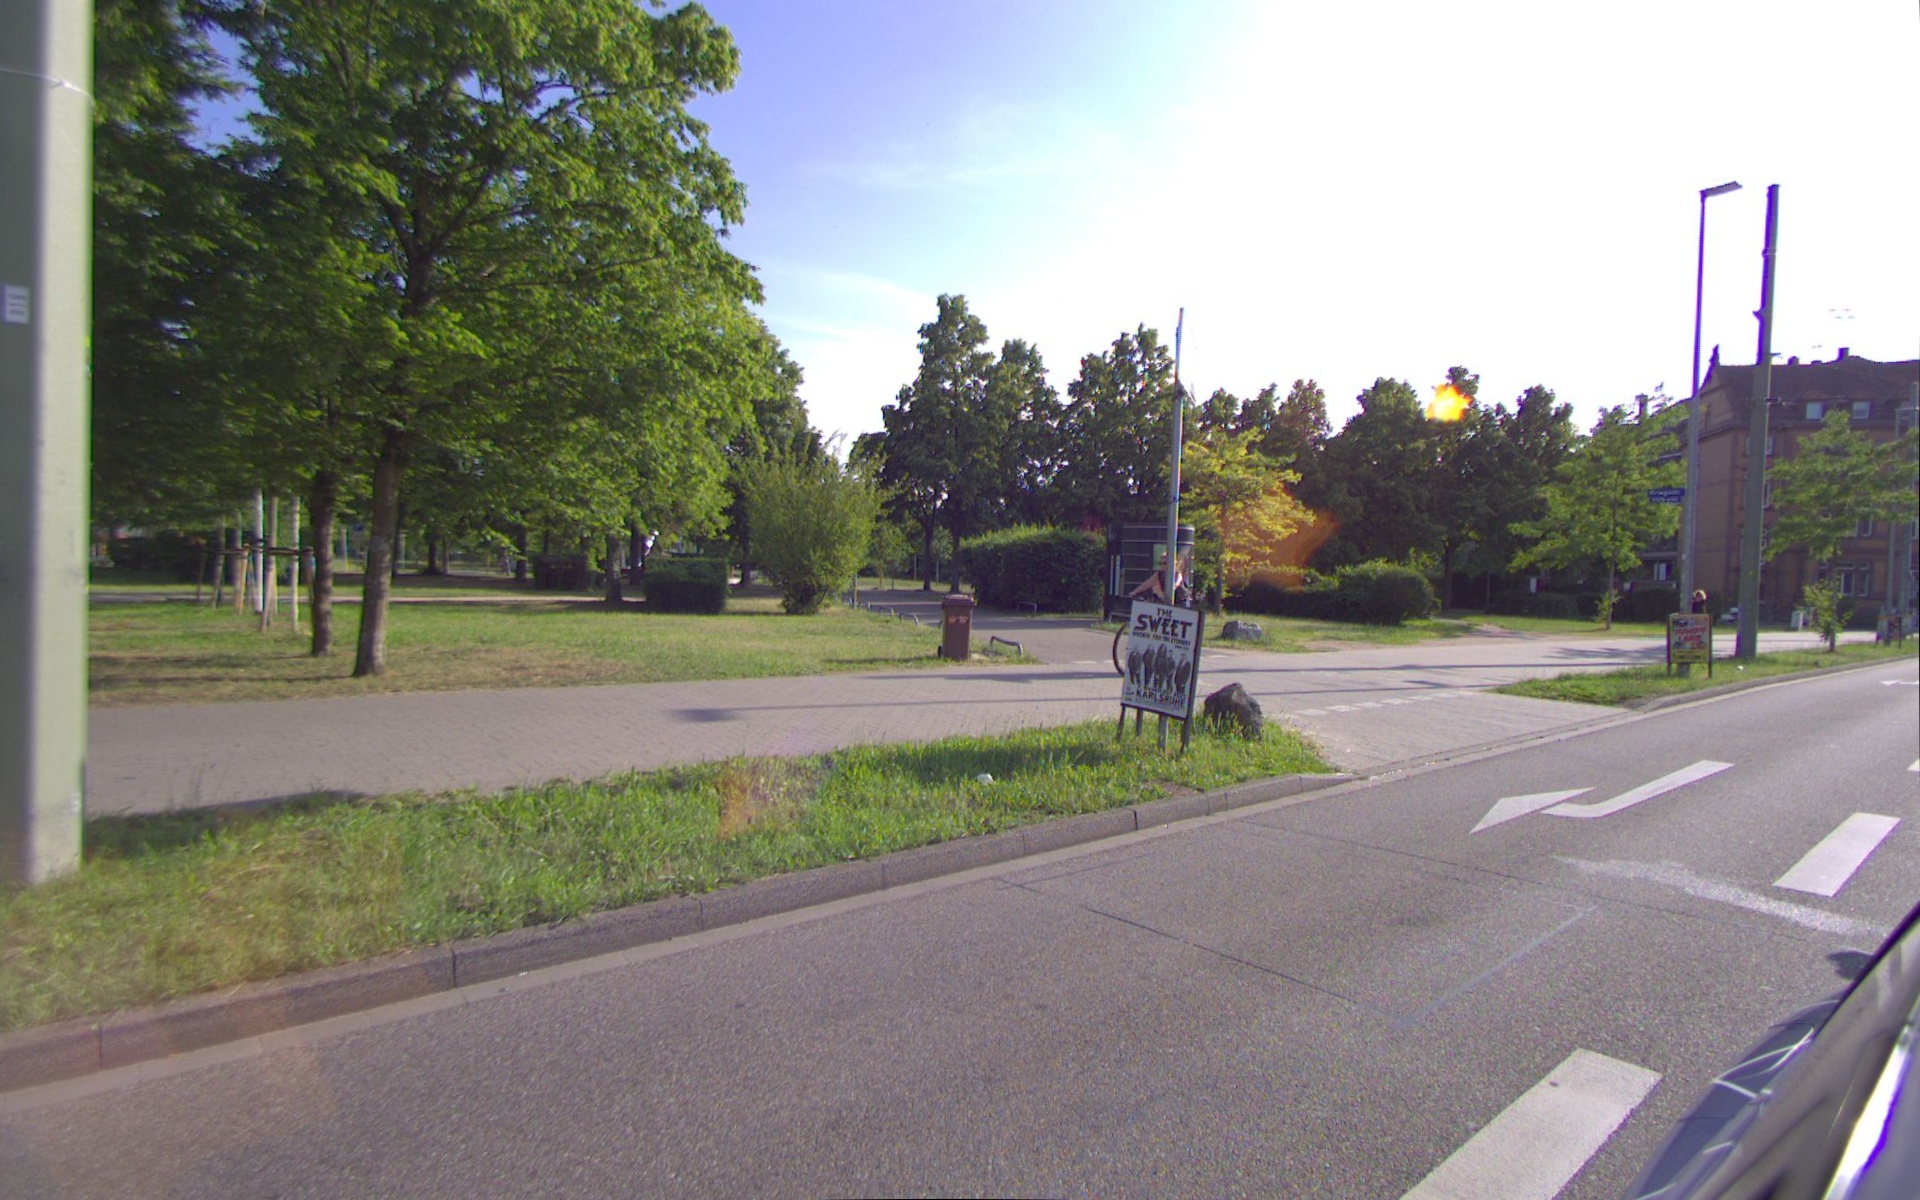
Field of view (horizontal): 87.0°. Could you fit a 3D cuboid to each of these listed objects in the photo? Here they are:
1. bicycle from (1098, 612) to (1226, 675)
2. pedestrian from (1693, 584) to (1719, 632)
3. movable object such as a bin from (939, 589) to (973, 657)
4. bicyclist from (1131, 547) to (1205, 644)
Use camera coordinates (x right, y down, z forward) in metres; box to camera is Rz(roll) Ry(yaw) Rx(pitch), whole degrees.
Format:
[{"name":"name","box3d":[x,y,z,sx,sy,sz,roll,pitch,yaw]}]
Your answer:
[{"name":"bicycle","box3d":[2.795,0.573,13.852,2.130,0.766,0.496,0,3,-41]},{"name":"pedestrian","box3d":[26.481,0.278,35.935,0.607,1.706,0.621,1,0,-41]},{"name":"movable object such as a bin","box3d":[-0.048,0.315,14.534,0.447,0.929,0.605,2,2,1]},{"name":"bicyclist","box3d":[2.849,-0.073,13.855,0.854,1.278,0.535,1,2,-41]}]
